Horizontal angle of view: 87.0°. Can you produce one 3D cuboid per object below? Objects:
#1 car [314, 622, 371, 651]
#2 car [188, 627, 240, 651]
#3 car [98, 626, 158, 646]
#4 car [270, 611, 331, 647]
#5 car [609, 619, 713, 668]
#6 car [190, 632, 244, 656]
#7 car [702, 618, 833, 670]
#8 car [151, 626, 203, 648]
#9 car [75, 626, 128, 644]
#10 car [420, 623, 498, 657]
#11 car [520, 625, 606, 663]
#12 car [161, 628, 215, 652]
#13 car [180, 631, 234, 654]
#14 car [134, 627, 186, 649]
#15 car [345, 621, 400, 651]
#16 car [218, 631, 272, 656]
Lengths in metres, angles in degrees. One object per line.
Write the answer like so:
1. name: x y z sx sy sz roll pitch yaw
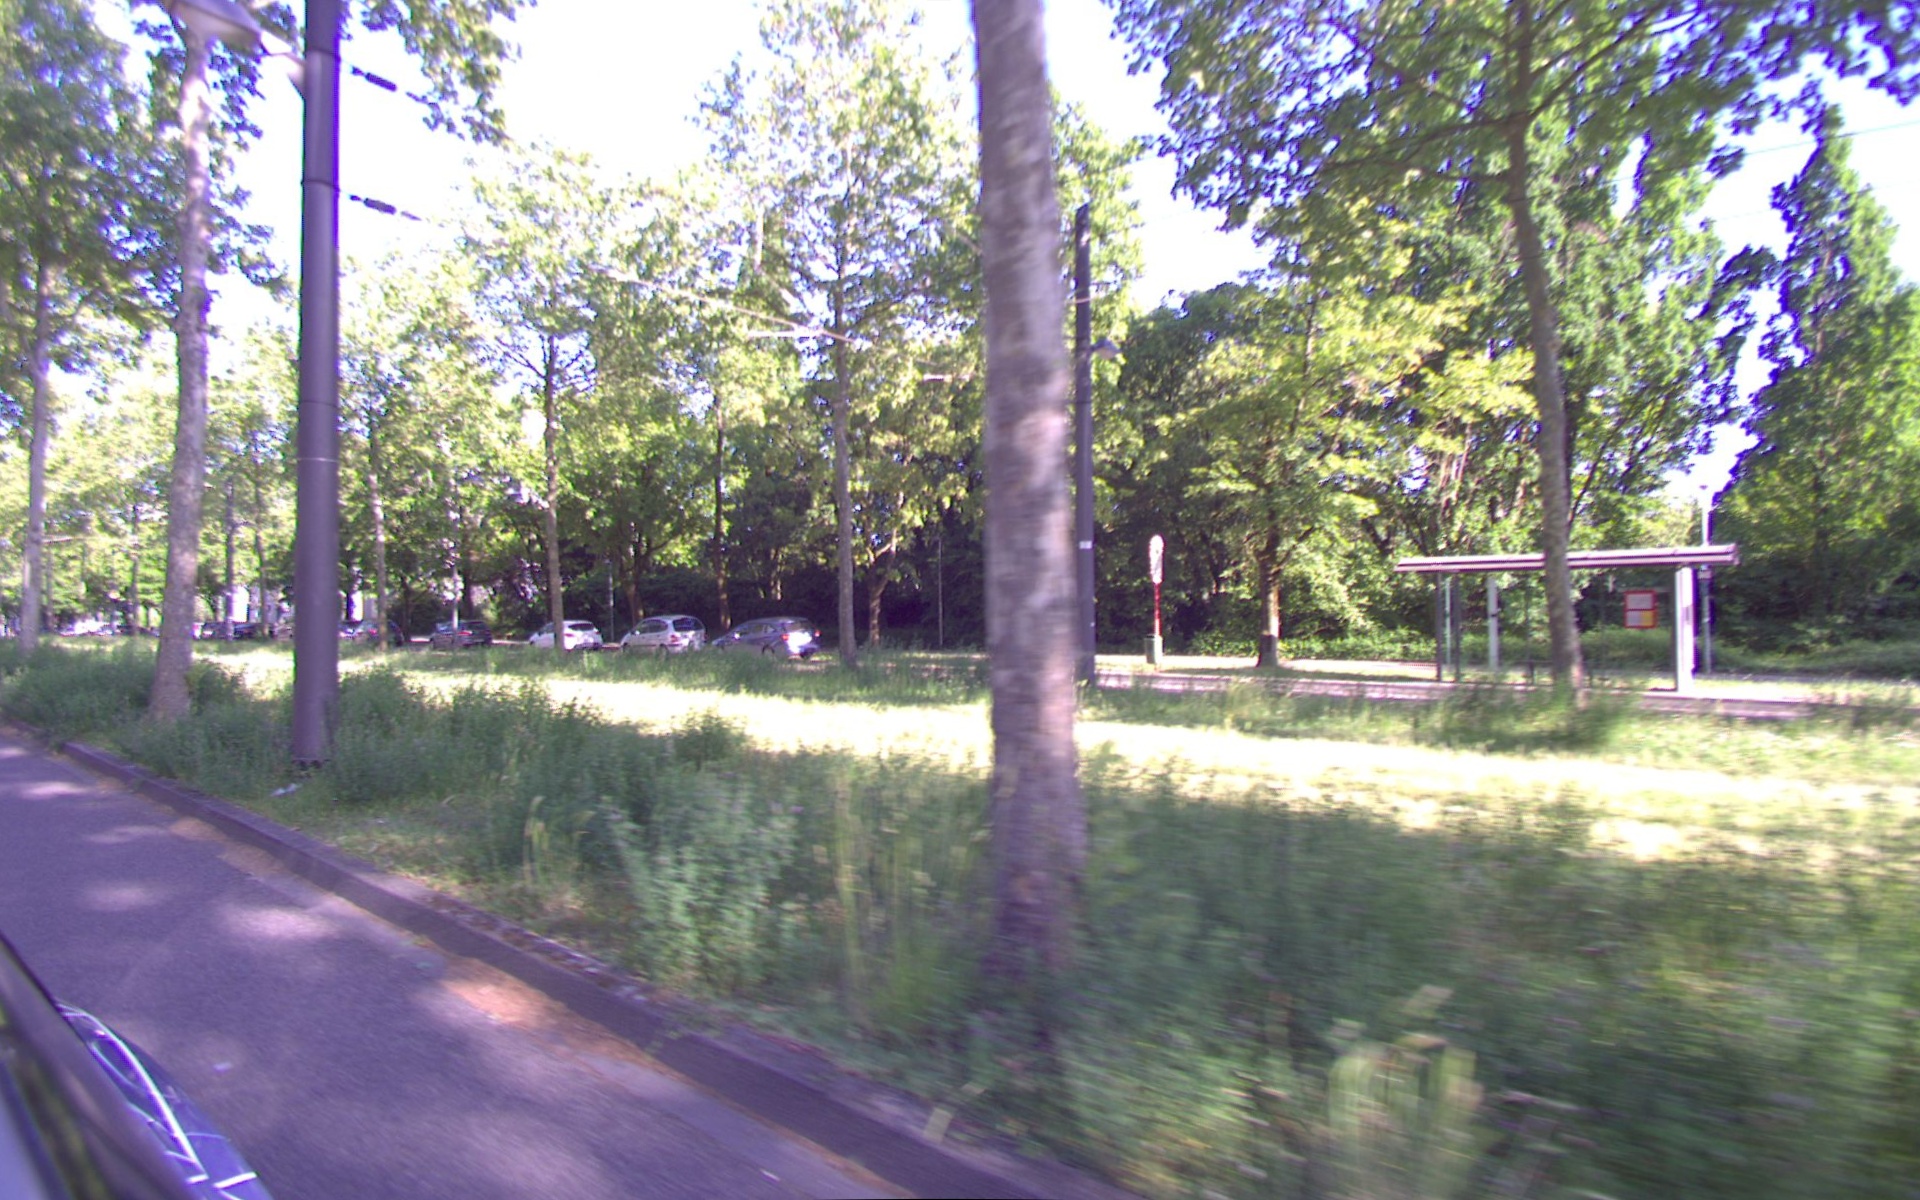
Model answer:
1. car: -36.609 2.137 59.949 3.815 1.507 1.732 -1 2 41
2. car: -61.578 3.193 83.612 1.868 1.722 4.512 -1 0 -13
3. car: -81.734 3.546 99.471 1.878 1.722 4.488 -1 0 9
4. car: -41.960 1.791 64.363 4.275 2.072 1.962 -1 3 40
5. car: -11.411 1.605 38.513 4.188 1.608 1.797 -1 2 41
6. car: -55.306 3.219 75.394 1.858 1.579 4.011 -1 0 -13
7. car: -6.588 1.438 34.368 4.625 1.499 1.878 -1 2 41
8. car: -67.560 3.188 87.388 1.868 1.722 4.512 -1 0 -13
9. car: -89.376 3.644 105.361 1.821 1.722 3.989 -1 0 9
10. car: -24.734 1.960 49.910 4.175 1.499 1.820 -1 2 39
11. car: -16.970 1.828 43.167 4.022 1.429 1.701 -1 2 41
12. car: -64.103 3.288 84.118 1.868 1.722 4.512 -1 0 -13
13. car: -58.076 3.252 78.120 1.858 1.579 4.011 -1 0 -13
14. car: -70.446 3.331 89.221 1.868 1.722 4.512 -1 0 -13
15. car: -32.760 2.004 56.422 3.567 1.499 1.525 -1 2 41
16. car: -52.522 3.178 74.398 1.858 1.579 4.011 -1 0 -13
